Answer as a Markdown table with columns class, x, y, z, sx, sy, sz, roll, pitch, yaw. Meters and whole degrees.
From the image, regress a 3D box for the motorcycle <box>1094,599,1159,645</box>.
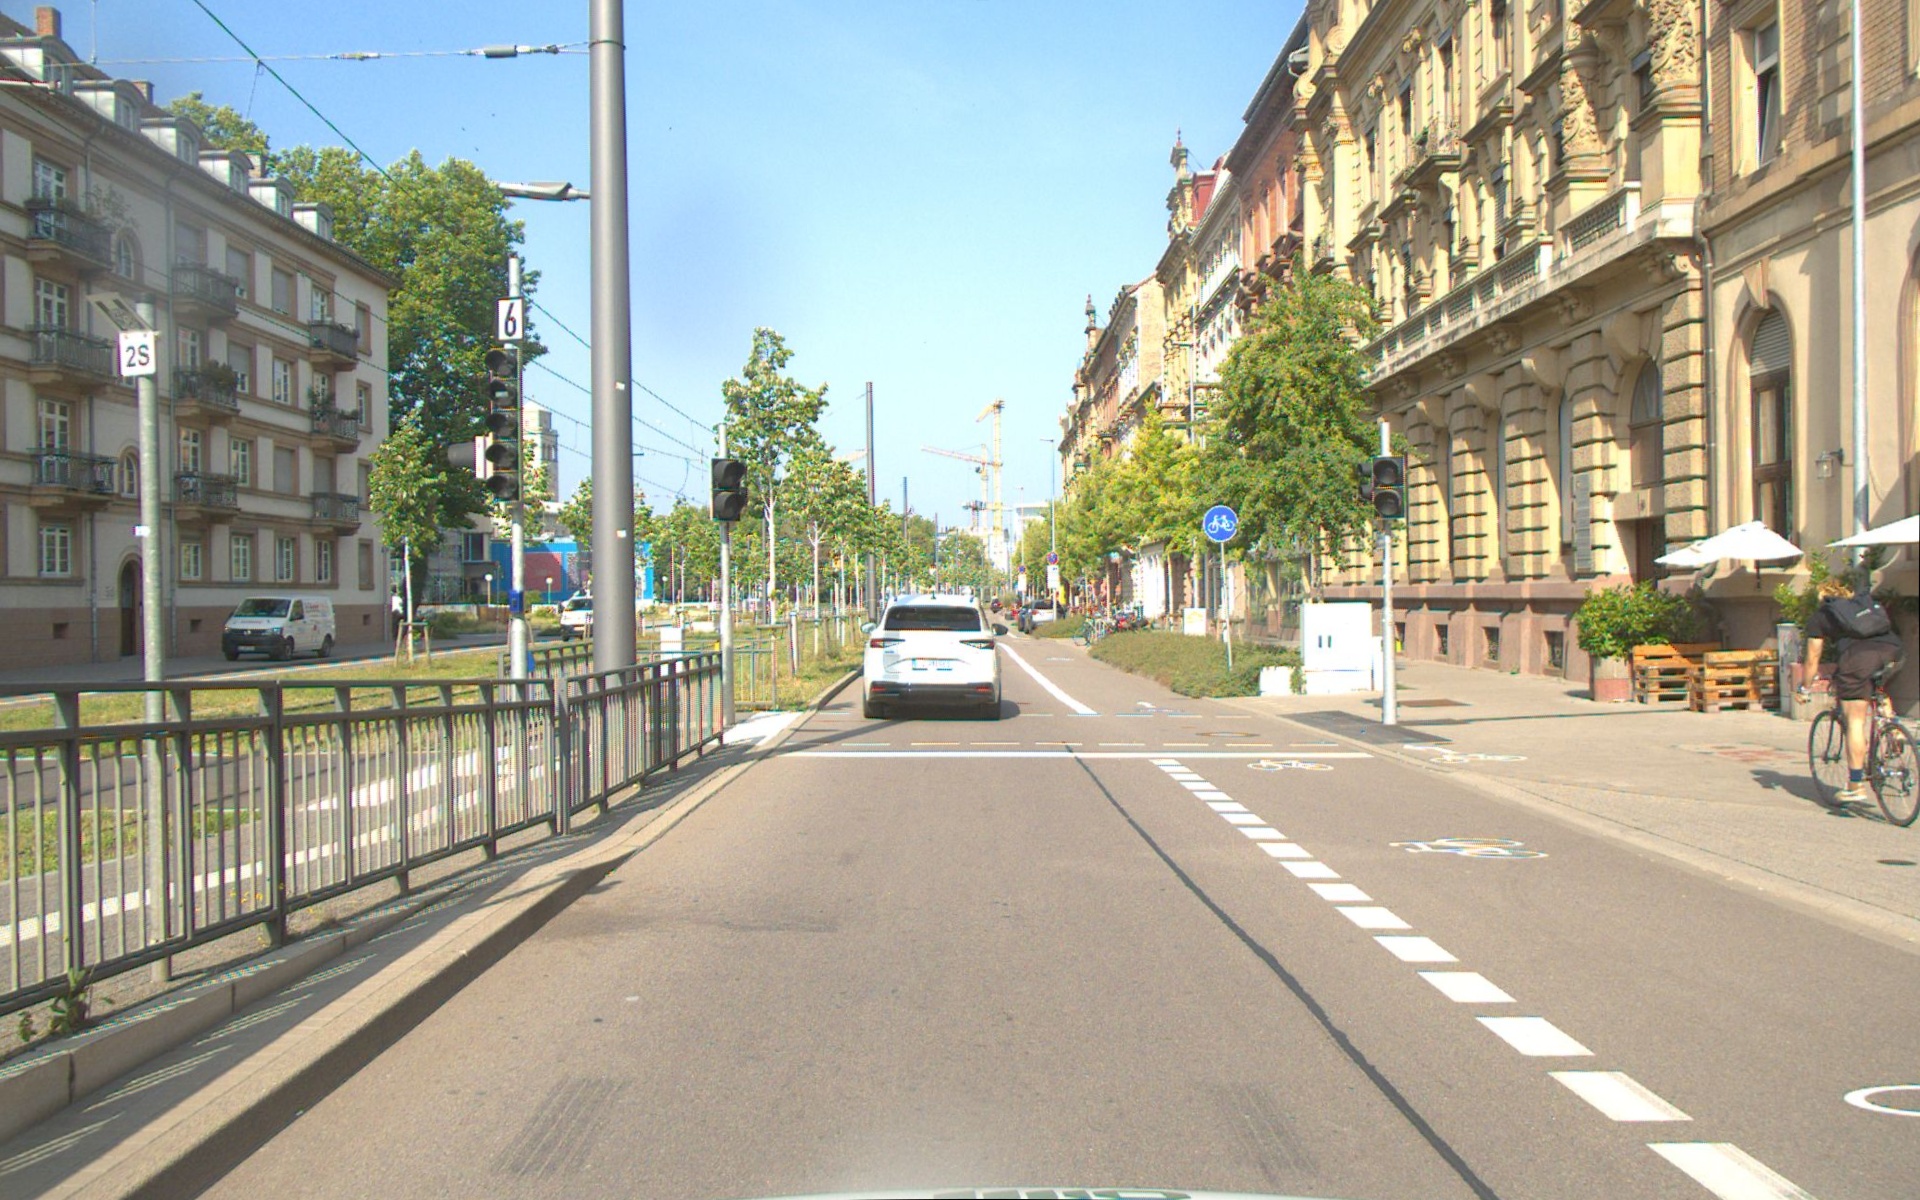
| class | x | y | z | sx | sy | sz | roll | pitch | yaw |
| --- | --- | --- | --- | --- | --- | --- | --- | --- | --- |
| motorcycle | 5.204 | 0.681 | 51.693 | 2.019 | 1.309 | 0.696 | -3 | 1 | -36 |

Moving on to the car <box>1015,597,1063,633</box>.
| class | x | y | z | sx | sy | sz | roll | pitch | yaw |
| --- | --- | --- | --- | --- | --- | --- | --- | --- | --- |
| car | 3.724 | 0.683 | 78.379 | 1.734 | 1.616 | 4.245 | -2 | 0 | -4 |

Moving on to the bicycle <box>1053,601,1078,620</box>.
| class | x | y | z | sx | sy | sz | roll | pitch | yaw |
| --- | --- | --- | --- | --- | --- | --- | --- | --- | --- |
| bicycle | 6.330 | 0.617 | 98.993 | 0.447 | 1.101 | 1.867 | -3 | -3 | 41 |

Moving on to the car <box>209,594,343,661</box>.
| class | x | y | z | sx | sy | sz | roll | pitch | yaw |
| --- | --- | --- | --- | --- | --- | --- | --- | --- | --- |
| car | -21.039 | 0.796 | 51.148 | 1.952 | 1.951 | 5.153 | 1 | 0 | 0 |

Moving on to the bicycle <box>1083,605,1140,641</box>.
| class | x | y | z | sx | sy | sz | roll | pitch | yaw |
| --- | --- | --- | --- | --- | --- | --- | --- | --- | --- |
| bicycle | 5.117 | 0.765 | 55.795 | 1.772 | 1.115 | 0.671 | -3 | 0 | -6 |

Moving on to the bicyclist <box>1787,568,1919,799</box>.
| class | x | y | z | sx | sy | sz | roll | pitch | yaw |
| --- | --- | --- | --- | --- | --- | --- | --- | --- | --- |
| bicyclist | 6.220 | 0.546 | 11.337 | 0.572 | 1.508 | 0.931 | -2 | 0 | -2 |

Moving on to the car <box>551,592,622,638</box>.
| class | x | y | z | sx | sy | sz | roll | pitch | yaw |
| --- | --- | --- | --- | --- | --- | --- | --- | --- | --- |
| car | -16.400 | 0.625 | 72.891 | 1.953 | 1.928 | 5.046 | -1 | 0 | 0 |

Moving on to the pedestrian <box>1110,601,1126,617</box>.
| class | x | y | z | sx | sy | sz | roll | pitch | yaw |
| --- | --- | --- | --- | --- | --- | --- | --- | --- | --- |
| pedestrian | 9.705 | 0.545 | 101.601 | 0.860 | 0.892 | 0.710 | -3 | 0 | -4 |

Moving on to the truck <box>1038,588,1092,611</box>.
| class | x | y | z | sx | sy | sz | roll | pitch | yaw |
| --- | --- | --- | --- | --- | --- | --- | --- | --- | --- |
| truck | 11.308 | -0.088 | 178.444 | 5.747 | 2.358 | 2.221 | -1 | 0 | 3 |

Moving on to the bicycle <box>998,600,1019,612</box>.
| class | x | y | z | sx | sy | sz | roll | pitch | yaw |
| --- | --- | --- | --- | --- | --- | --- | --- | --- | --- |
| bicycle | 4.456 | 0.554 | 152.057 | 1.894 | 1.003 | 0.471 | -3 | 0 | 1 |

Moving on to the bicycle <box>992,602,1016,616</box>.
| class | x | y | z | sx | sy | sz | roll | pitch | yaw |
| --- | --- | --- | --- | --- | --- | --- | --- | --- | --- |
| bicycle | 4.004 | 0.813 | 150.733 | 2.193 | 1.123 | 0.588 | -3 | 0 | 1 |

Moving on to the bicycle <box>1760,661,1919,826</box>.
| class | x | y | z | sx | sy | sz | roll | pitch | yaw |
| --- | --- | --- | --- | --- | --- | --- | --- | --- | --- |
| bicycle | 6.235 | 0.943 | 11.393 | 0.495 | 0.970 | 1.784 | -2 | 0 | -2 |

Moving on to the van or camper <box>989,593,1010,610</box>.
| class | x | y | z | sx | sy | sz | roll | pitch | yaw |
| --- | --- | --- | --- | --- | --- | --- | --- | --- | --- |
| van or camper | 4.122 | 0.154 | 172.740 | 1.953 | 1.684 | 3.999 | -1 | 0 | -1 |

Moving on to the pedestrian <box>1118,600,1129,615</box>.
| class | x | y | z | sx | sy | sz | roll | pitch | yaw |
| --- | --- | --- | --- | --- | --- | --- | --- | --- | --- |
| pedestrian | 9.859 | 0.476 | 99.907 | 0.559 | 0.869 | 0.457 | -3 | 0 | -6 |

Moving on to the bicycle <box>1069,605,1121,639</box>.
| class | x | y | z | sx | sy | sz | roll | pitch | yaw |
| --- | --- | --- | --- | --- | --- | --- | --- | --- | --- |
| bicycle | 4.689 | 0.764 | 57.505 | 1.749 | 1.072 | 0.372 | -3 | 0 | -2 |

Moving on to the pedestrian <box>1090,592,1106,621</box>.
| class | x | y | z | sx | sy | sz | roll | pitch | yaw |
| --- | --- | --- | --- | --- | --- | --- | --- | --- | --- |
| pedestrian | 8.390 | 0.399 | 100.430 | 0.807 | 1.726 | 0.792 | -3 | 0 | -4 |

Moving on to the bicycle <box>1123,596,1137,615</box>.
| class | x | y | z | sx | sy | sz | roll | pitch | yaw |
| --- | --- | --- | --- | --- | --- | --- | --- | --- | --- |
| bicycle | 10.011 | 0.321 | 97.279 | 0.442 | 1.102 | 1.445 | -1 | 0 | -9 |

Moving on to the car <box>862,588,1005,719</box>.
| class | x | y | z | sx | sy | sz | roll | pitch | yaw |
| --- | --- | --- | --- | --- | --- | --- | --- | --- | --- |
| car | -0.331 | 0.665 | 22.798 | 1.780 | 1.617 | 4.406 | 0 | 0 | 0 |

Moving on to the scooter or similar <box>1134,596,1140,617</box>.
| class | x | y | z | sx | sy | sz | roll | pitch | yaw |
| --- | --- | --- | --- | --- | --- | --- | --- | --- | --- |
| scooter or similar | 9.853 | 0.333 | 92.071 | 0.282 | 1.154 | 1.089 | -1 | 0 | 5 |

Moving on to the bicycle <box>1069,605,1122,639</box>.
| class | x | y | z | sx | sy | sz | roll | pitch | yaw |
| --- | --- | --- | --- | --- | --- | --- | --- | --- | --- |
| bicycle | 4.688 | 0.762 | 57.087 | 1.749 | 1.072 | 0.372 | -3 | 0 | -2 |
